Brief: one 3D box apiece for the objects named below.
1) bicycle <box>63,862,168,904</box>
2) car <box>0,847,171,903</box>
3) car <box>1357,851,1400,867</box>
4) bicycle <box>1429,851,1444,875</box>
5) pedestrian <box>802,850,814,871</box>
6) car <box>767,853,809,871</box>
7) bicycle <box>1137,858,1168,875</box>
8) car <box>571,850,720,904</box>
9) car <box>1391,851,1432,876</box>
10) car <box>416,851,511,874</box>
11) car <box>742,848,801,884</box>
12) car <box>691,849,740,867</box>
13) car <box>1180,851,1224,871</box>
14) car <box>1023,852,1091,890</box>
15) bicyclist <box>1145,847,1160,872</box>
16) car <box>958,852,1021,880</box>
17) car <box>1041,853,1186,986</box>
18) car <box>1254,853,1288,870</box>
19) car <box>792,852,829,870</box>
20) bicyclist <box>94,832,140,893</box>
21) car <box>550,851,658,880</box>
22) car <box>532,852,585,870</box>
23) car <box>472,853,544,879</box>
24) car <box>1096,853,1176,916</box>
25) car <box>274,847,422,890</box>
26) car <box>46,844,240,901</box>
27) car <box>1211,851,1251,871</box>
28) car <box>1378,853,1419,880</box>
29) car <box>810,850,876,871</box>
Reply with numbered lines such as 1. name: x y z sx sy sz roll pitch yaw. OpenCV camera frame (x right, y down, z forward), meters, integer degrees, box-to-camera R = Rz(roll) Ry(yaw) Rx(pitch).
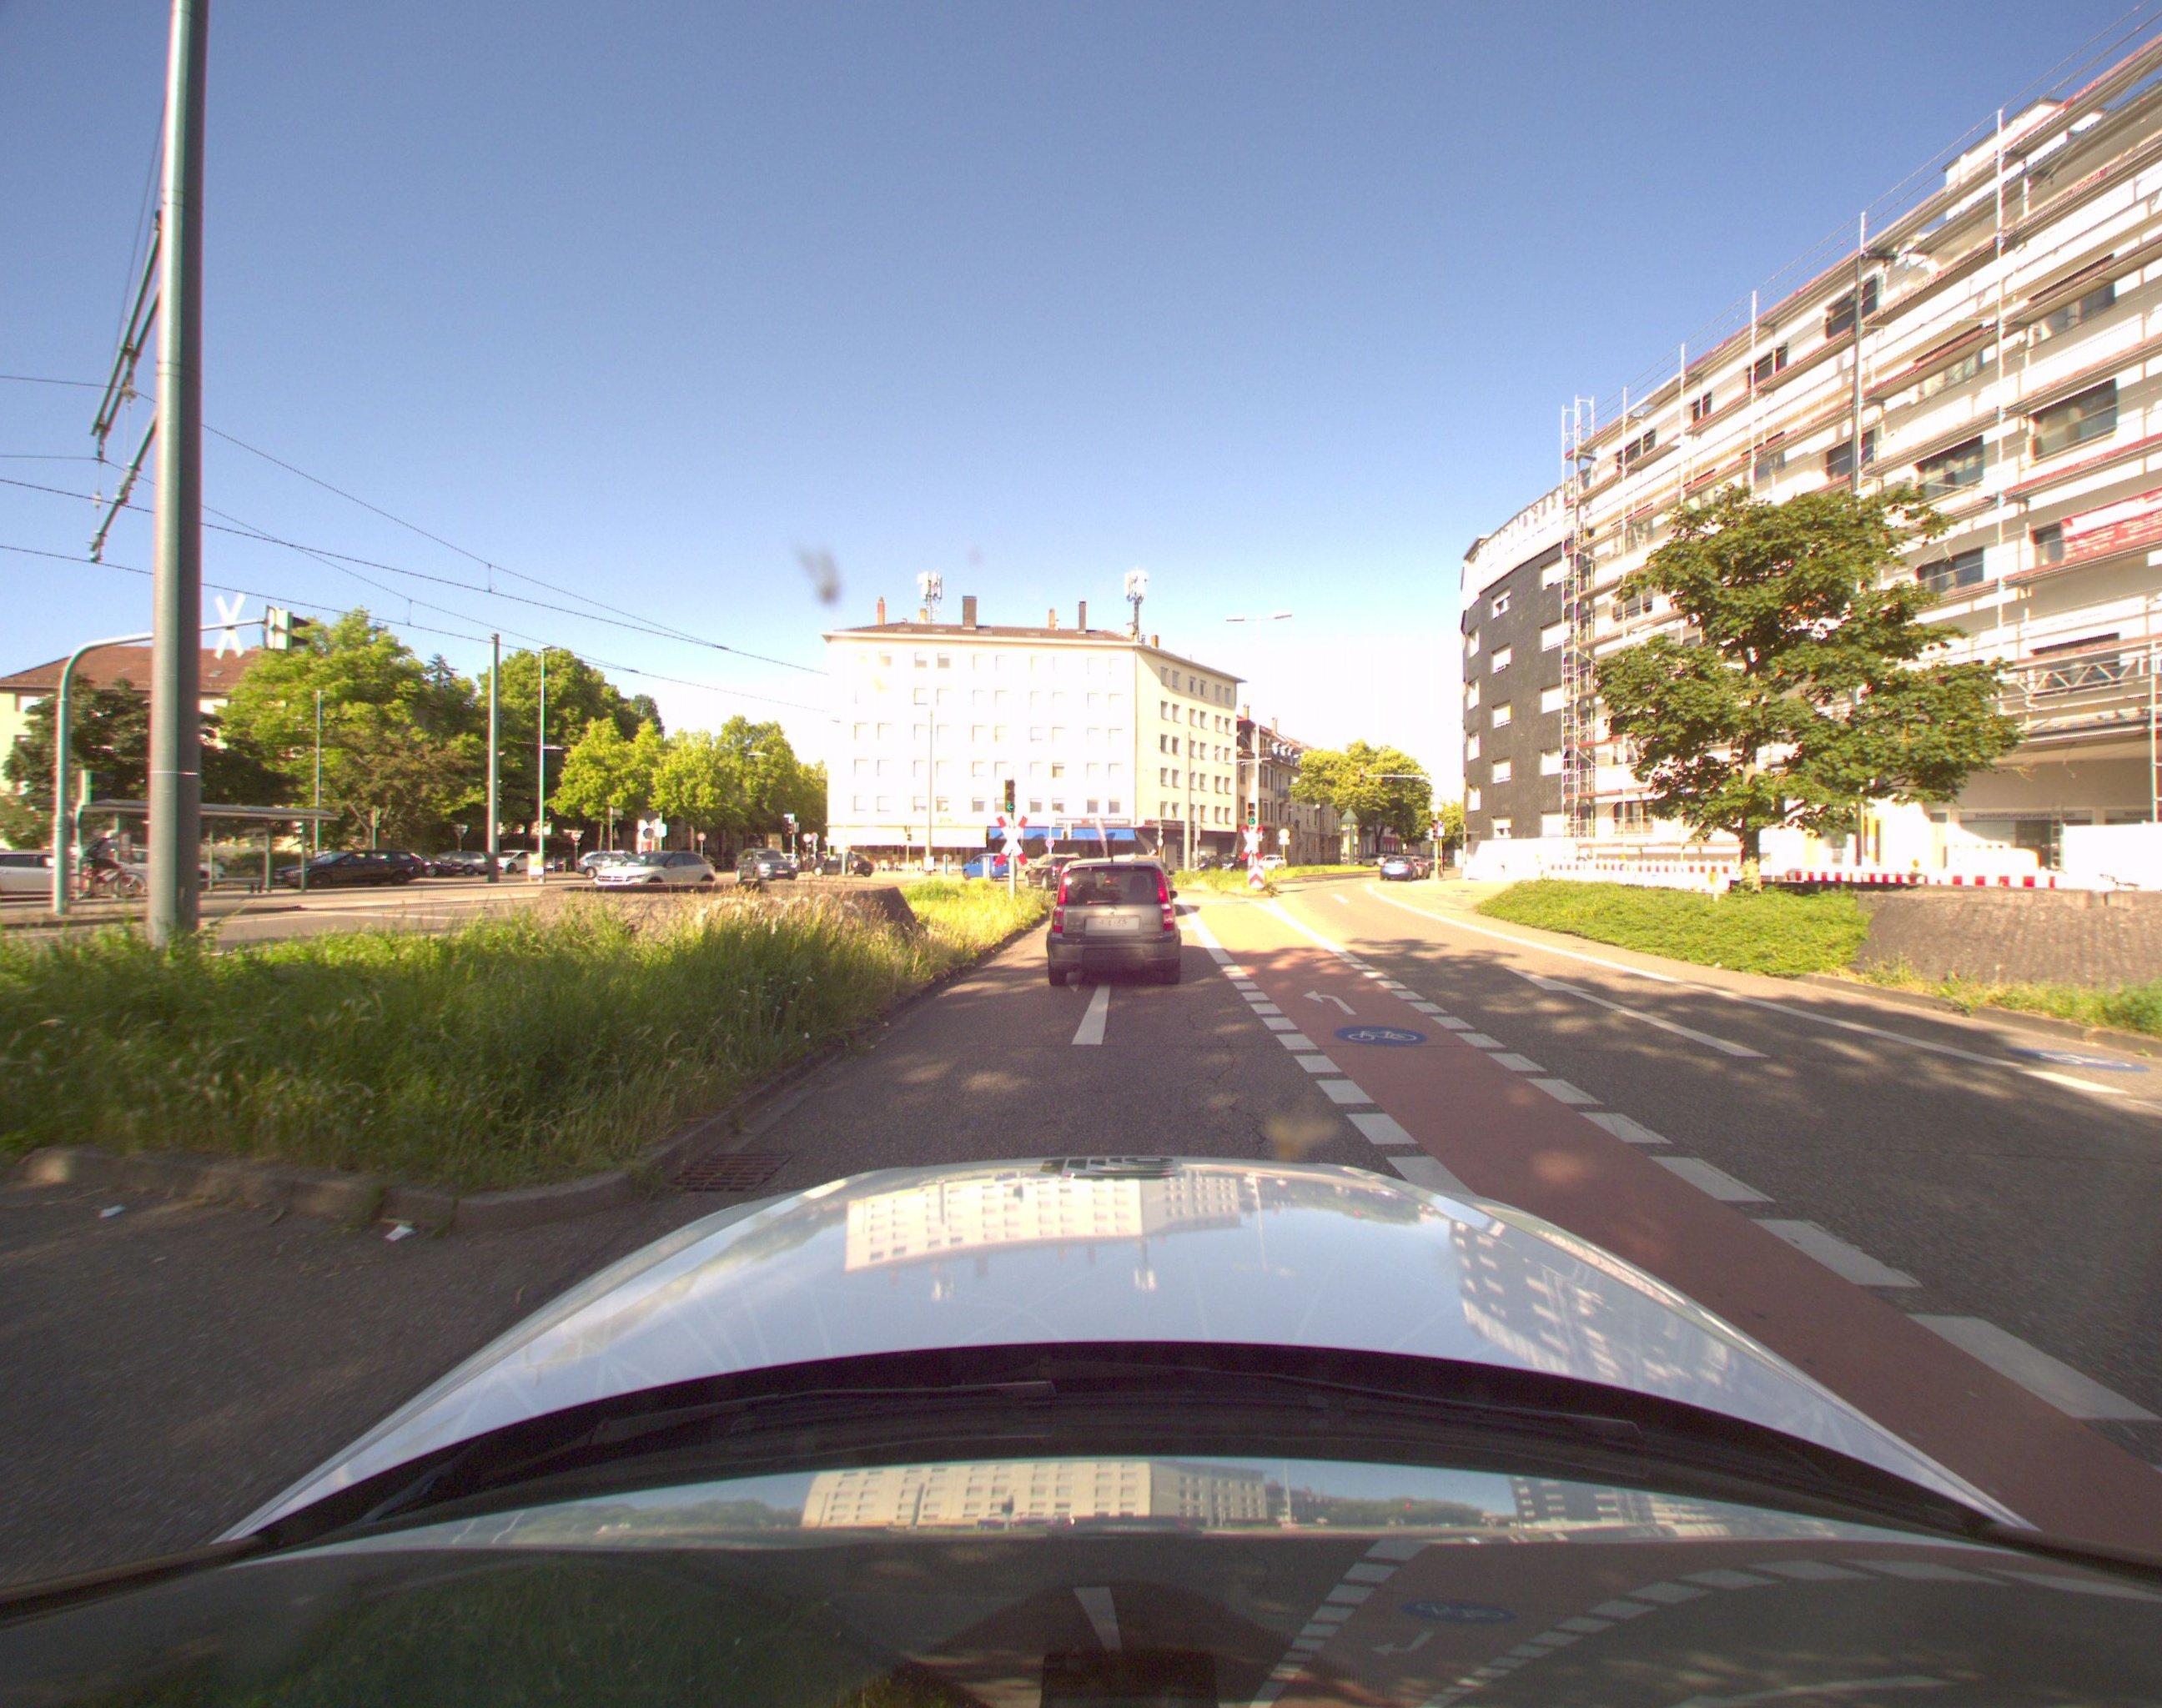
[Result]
1. bicycle: -24.861 0.724 20.994 0.606 1.001 1.669 2 1 31
2. car: -31.426 0.616 25.007 1.849 1.544 4.577 4 2 40
3. car: 28.741 0.468 78.838 1.908 1.594 3.978 0 0 -16
4. bicycle: 23.029 0.554 52.683 0.567 1.511 2.825 0 0 30
5. pedestrian: -20.857 0.490 62.286 0.795 1.621 0.823 0 0 -26
6. car: -22.498 0.582 62.711 1.989 1.310 3.995 0 0 -3
7. bicycle: 4.534 0.777 51.474 1.836 1.032 0.592 0 0 20
8. car: -13.715 0.671 26.011 1.983 1.562 4.396 0 0 7
9. car: 21.062 0.576 51.818 1.802 1.508 4.025 0 0 30
10. car: -35.675 0.477 47.167 4.005 1.243 1.984 1 0 -24
11. car: -14.957 0.520 39.206 1.765 1.614 4.675 0 0 -32
12. car: -33.330 0.356 74.244 3.950 1.540 2.012 0 0 28
13. car: 8.768 0.515 58.741 1.773 1.396 3.748 0 0 32
14. car: -1.078 0.668 34.386 1.765 1.486 4.267 0 0 -18
15. bicyclist: 4.529 0.349 51.474 0.814 1.559 0.565 0 0 20
16. car: -4.958 0.608 44.046 1.661 1.438 3.354 0 0 -45
17. car: 0.334 0.743 10.911 1.655 1.510 3.249 0 0 -2
18. car: 16.472 0.644 70.588 1.773 1.483 3.554 0 0 32
19. car: -23.428 0.551 70.612 1.931 1.513 3.937 0 0 -2
20. bicyclist: -24.853 0.215 20.992 0.606 1.530 0.680 2 1 32
21. car: -26.384 0.639 45.125 4.854 1.442 1.733 -2 -1 -2
22. car: -38.186 0.503 59.636 1.590 1.293 3.699 0 0 -3
23. car: -37.986 0.752 54.127 1.754 1.617 4.225 1 0 0
24. car: 1.279 0.688 20.302 1.617 1.429 3.685 0 0 -2
25. car: -29.158 0.539 32.566 1.744 1.488 4.028 3 2 19
26. car: -32.279 0.564 28.169 1.742 1.717 4.023 3 2 24
27. car: 11.795 0.534 63.806 1.773 1.565 3.790 0 0 32
28. car: 18.549 0.687 47.527 1.758 1.442 3.641 1 1 29
29. car: -14.531 0.381 49.787 3.582 1.253 1.705 0 0 23
